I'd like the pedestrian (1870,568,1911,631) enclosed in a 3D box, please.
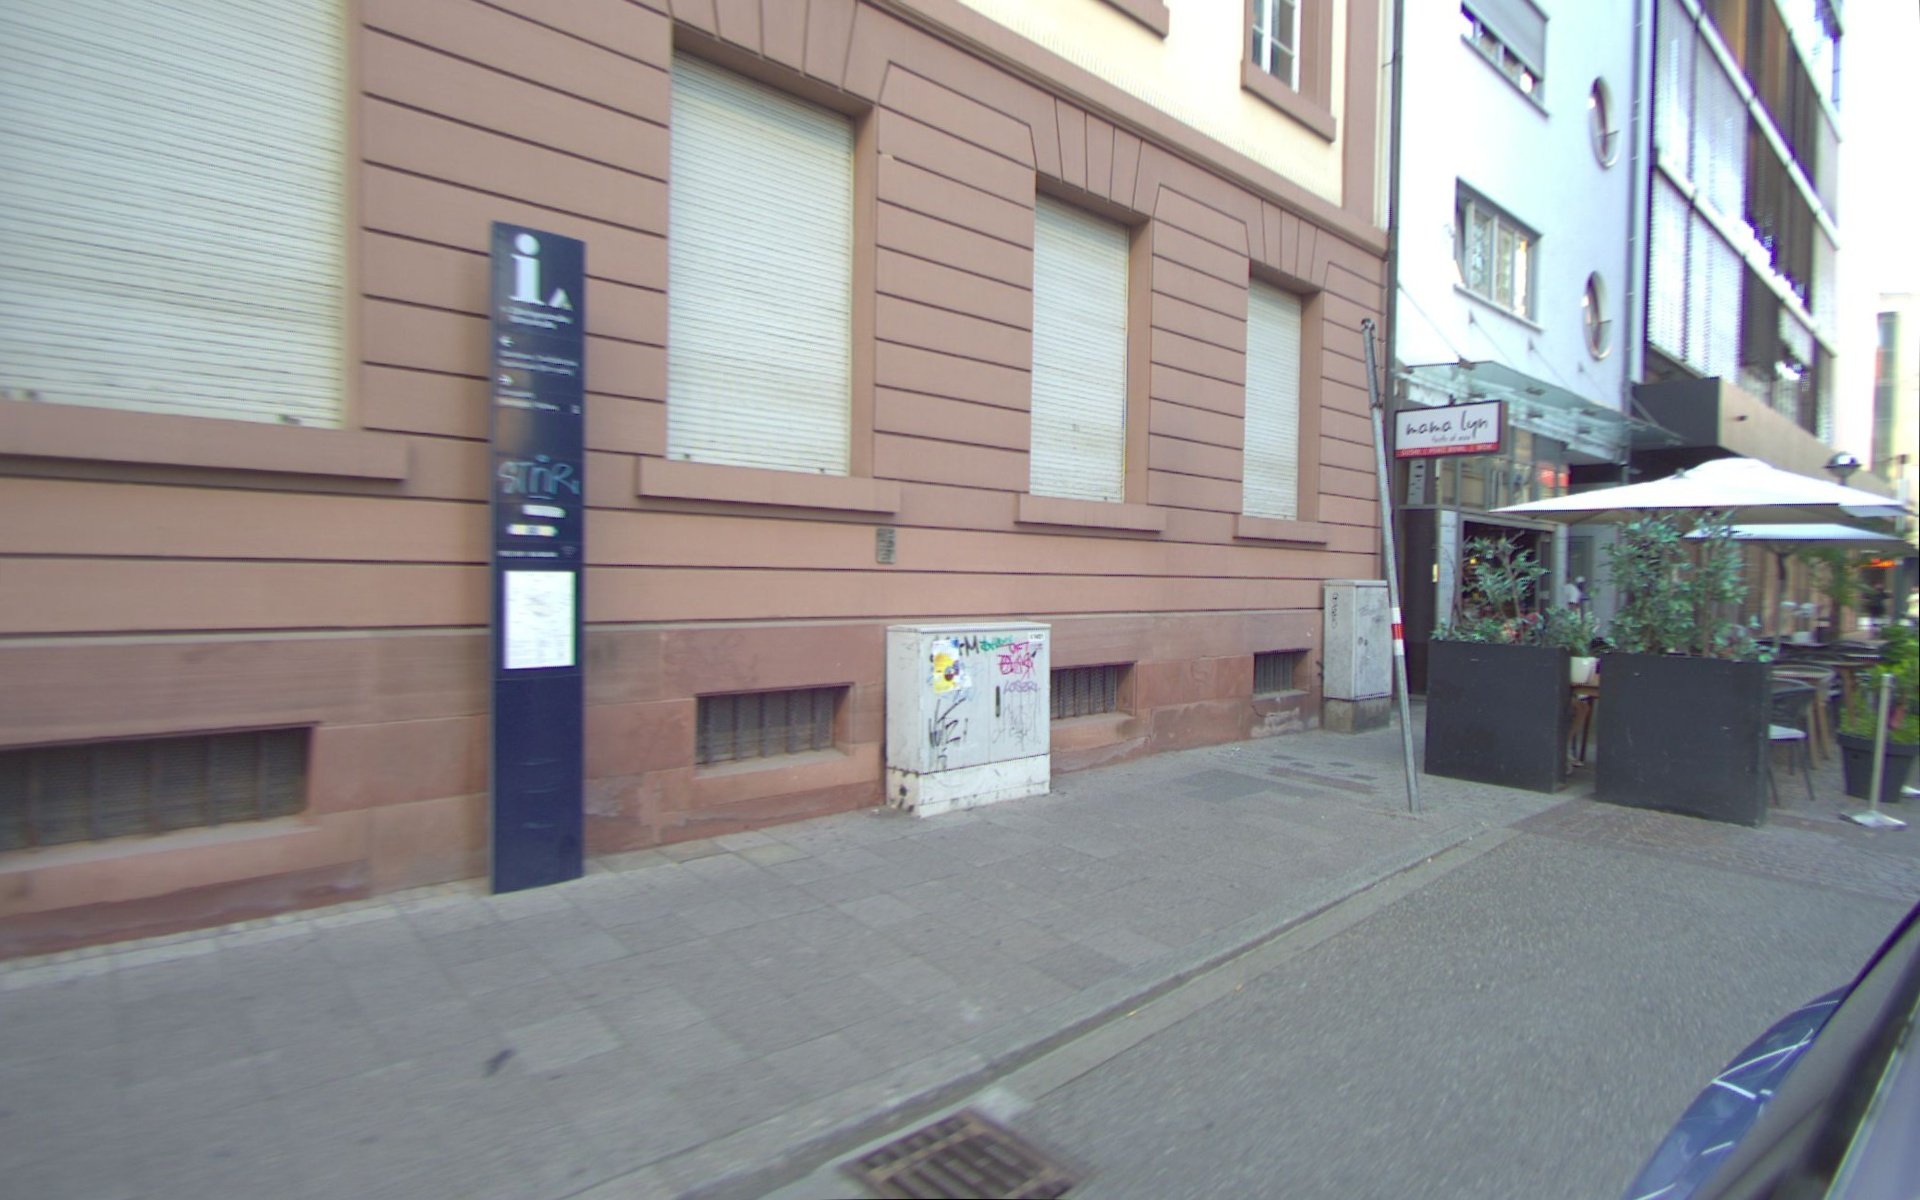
[{"bbox_3d":[28.018,-0.033,30.472,0.663,1.859,0.803,0,2,-40],"label":"pedestrian"}]

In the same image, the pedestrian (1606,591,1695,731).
[{"bbox_3d":[7.510,0.628,11.002,0.853,1.437,0.575,0,2,-41],"label":"pedestrian"}]

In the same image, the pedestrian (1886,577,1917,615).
[{"bbox_3d":[39.270,-0.162,42.219,0.623,1.543,0.784,-1,2,-32],"label":"pedestrian"}]

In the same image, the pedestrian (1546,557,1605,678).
[{"bbox_3d":[9.409,0.249,15.471,0.638,1.794,0.593,2,2,44],"label":"pedestrian"}]

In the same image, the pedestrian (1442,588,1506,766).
[{"bbox_3d":[4.018,0.577,7.907,0.360,1.322,0.489,2,1,34],"label":"pedestrian"}]

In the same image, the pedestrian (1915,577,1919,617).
[{"bbox_3d":[40.203,-0.099,41.845,0.624,1.641,0.783,1,2,-1],"label":"pedestrian"}]

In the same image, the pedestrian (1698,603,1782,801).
[{"bbox_3d":[5.115,0.645,6.642,0.398,1.228,0.378,2,2,39],"label":"pedestrian"}]
